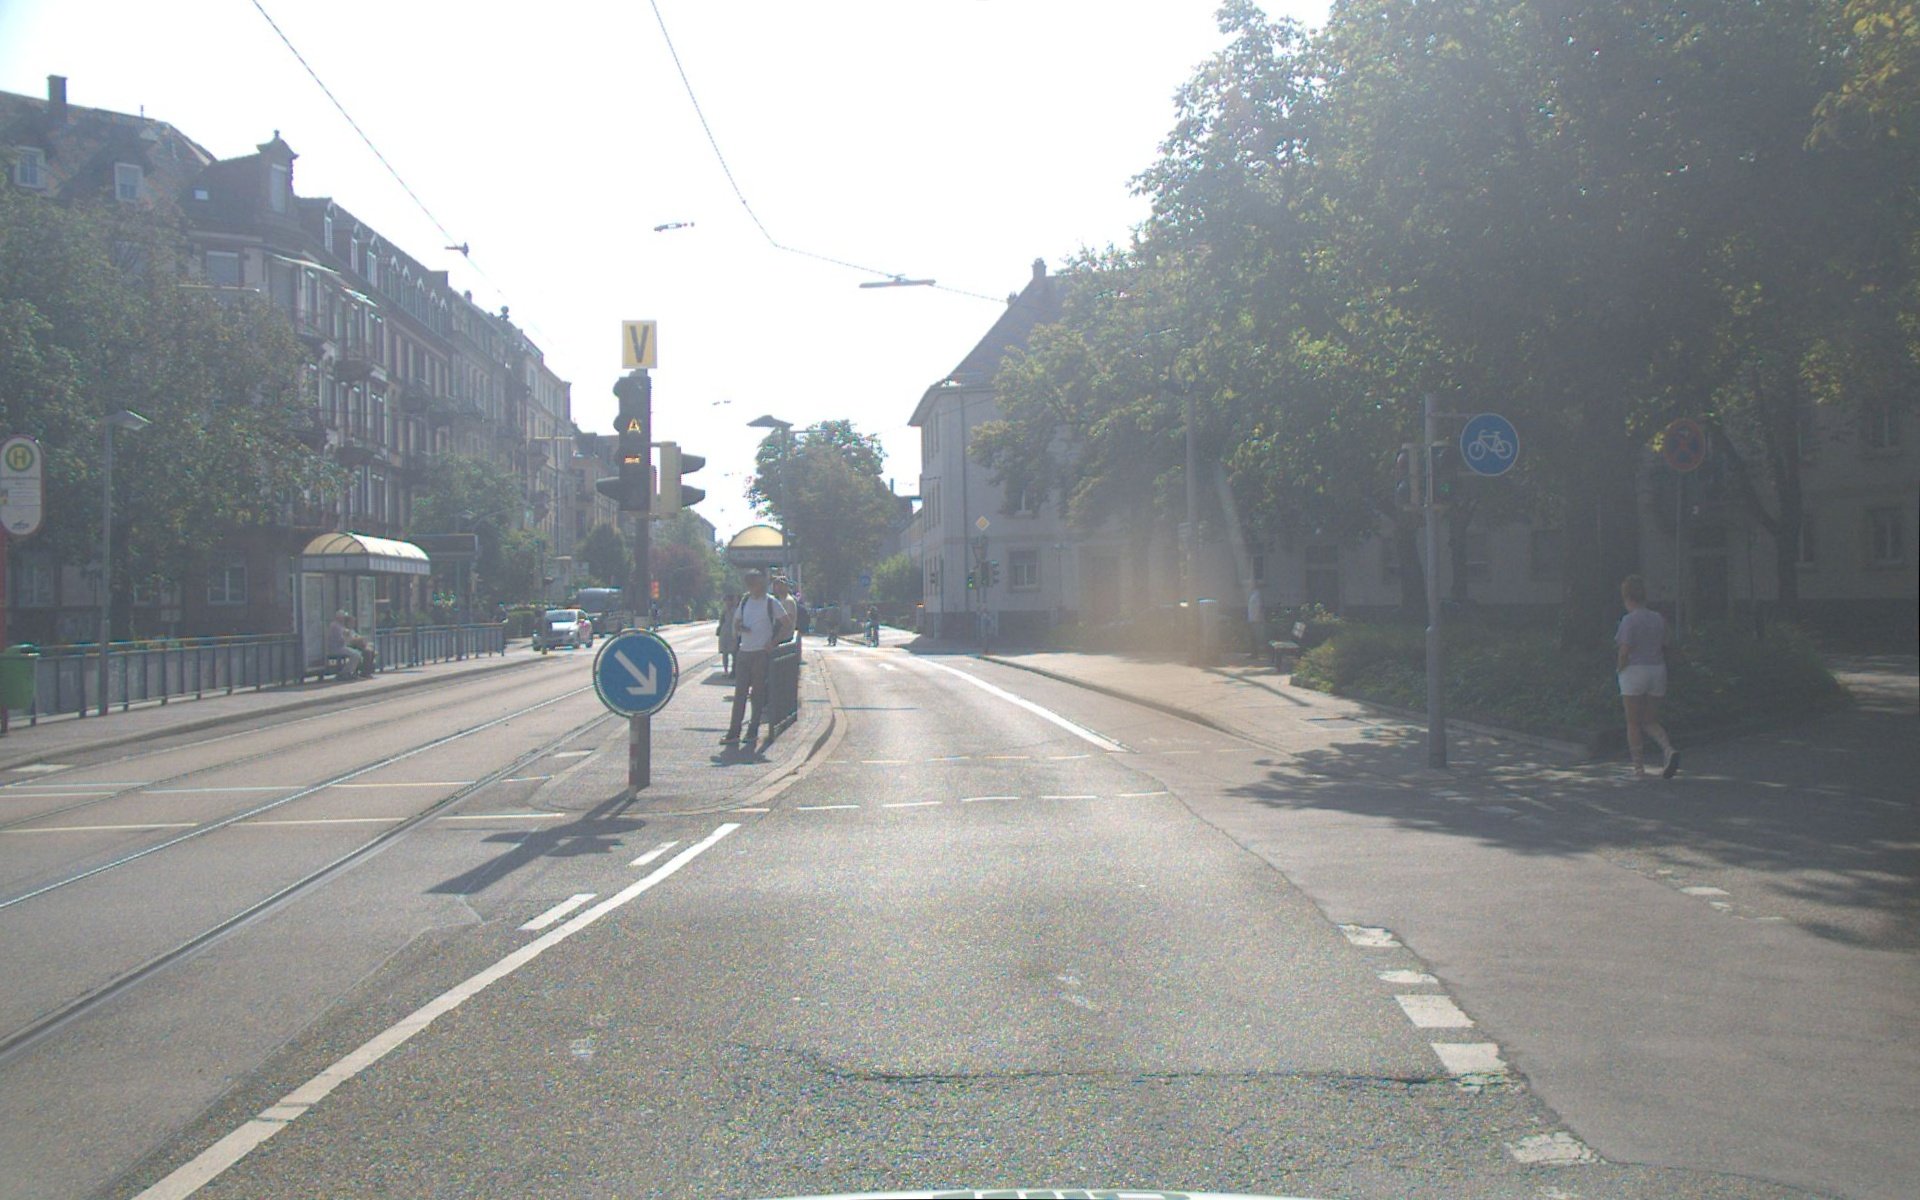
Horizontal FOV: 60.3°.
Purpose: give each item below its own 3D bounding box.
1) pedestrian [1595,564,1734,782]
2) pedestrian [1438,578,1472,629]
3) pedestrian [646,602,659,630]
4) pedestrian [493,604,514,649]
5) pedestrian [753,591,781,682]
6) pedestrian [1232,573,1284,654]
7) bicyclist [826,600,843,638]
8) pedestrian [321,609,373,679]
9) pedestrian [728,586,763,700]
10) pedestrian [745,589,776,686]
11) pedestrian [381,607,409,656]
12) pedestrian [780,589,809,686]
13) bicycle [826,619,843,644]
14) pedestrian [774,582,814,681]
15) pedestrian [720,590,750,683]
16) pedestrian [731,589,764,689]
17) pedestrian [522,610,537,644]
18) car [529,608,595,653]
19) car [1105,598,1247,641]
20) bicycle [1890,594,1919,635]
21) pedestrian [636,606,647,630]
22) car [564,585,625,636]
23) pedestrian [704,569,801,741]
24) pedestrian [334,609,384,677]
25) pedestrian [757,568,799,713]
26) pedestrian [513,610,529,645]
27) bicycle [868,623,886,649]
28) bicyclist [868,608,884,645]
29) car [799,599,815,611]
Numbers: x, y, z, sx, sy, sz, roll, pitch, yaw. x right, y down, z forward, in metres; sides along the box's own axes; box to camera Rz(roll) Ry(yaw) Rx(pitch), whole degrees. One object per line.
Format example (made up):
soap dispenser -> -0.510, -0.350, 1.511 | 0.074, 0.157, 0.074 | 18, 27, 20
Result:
pedestrian -> 5.906, 0.593, 13.891 | 0.737, 1.761, 0.769 | -1, 0, -14
pedestrian -> 17.352, 0.134, 57.976 | 0.770, 1.771, 0.880 | -1, 0, -43
pedestrian -> -19.194, 0.993, 103.292 | 0.737, 1.761, 0.769 | -1, 0, -14
pedestrian -> -18.240, 1.051, 66.116 | 0.737, 1.761, 0.769 | -1, 0, -14
pedestrian -> -3.878, 0.720, 33.204 | 0.494, 1.790, 0.533 | 1, 2, -5
pedestrian -> 6.645, 0.308, 36.845 | 0.875, 1.771, 0.774 | -1, 0, 33
bicyclist -> -5.240, 0.785, 69.049 | 0.617, 1.534, 0.677 | -1, 0, -7
pedestrian -> -12.340, 0.877, 33.305 | 0.812, 1.382, 0.774 | -1, 0, -10
pedestrian -> -3.425, 0.679, 26.408 | 0.494, 1.790, 0.533 | 1, 2, -5
pedestrian -> -3.760, 0.705, 31.210 | 0.532, 1.790, 0.533 | 1, 2, -5
pedestrian -> -20.442, 1.138, 59.815 | 0.735, 1.761, 0.771 | -1, 0, -3
pedestrian -> -3.133, 0.708, 31.262 | 0.494, 1.790, 0.533 | 1, 2, -5
bicycle -> -5.235, 1.304, 69.048 | 0.617, 0.995, 1.768 | -1, 0, -6
pedestrian -> -3.071, 0.577, 30.648 | 0.695, 1.790, 0.533 | 1, 2, -5
pedestrian -> -4.427, 0.714, 32.574 | 0.522, 1.790, 0.544 | 1, 2, -4
pedestrian -> -3.899, 0.708, 30.386 | 0.532, 1.790, 0.533 | 1, 2, -5
pedestrian -> -22.772, 1.408, 87.544 | 0.737, 1.761, 0.769 | -1, 0, -14
car -> -15.778, 1.189, 65.743 | 1.765, 1.682, 3.641 | -1, 0, -1
car -> 7.160, 0.665, 55.045 | 4.246, 1.343, 1.994 | -1, 0, 34
bicycle -> 23.689, 0.355, 40.808 | 0.416, 0.995, 1.553 | -1, 0, -7
pedestrian -> -23.373, 1.298, 121.494 | 0.737, 1.761, 0.769 | -1, 0, -14
car -> -20.339, 0.577, 92.190 | 2.300, 2.708, 5.103 | -1, 0, -1
pedestrian -> -2.195, 0.558, 17.522 | 0.686, 1.755, 0.747 | 2, 2, 28
pedestrian -> -12.446, 0.883, 34.275 | 0.812, 1.382, 0.774 | -1, 0, -10
pedestrian -> -2.392, 0.527, 21.783 | 0.494, 1.866, 0.533 | 1, 2, -5
pedestrian -> -22.529, 1.394, 84.835 | 0.737, 1.761, 0.769 | -1, 0, -14
bicycle -> -3.280, 1.415, 65.187 | 0.547, 0.995, 1.853 | -1, 0, -6
bicyclist -> -3.296, 1.026, 65.202 | 0.547, 1.441, 0.870 | -1, 0, -7
car -> -22.971, 0.810, 248.259 | 1.952, 1.814, 4.001 | 0, 0, 2
